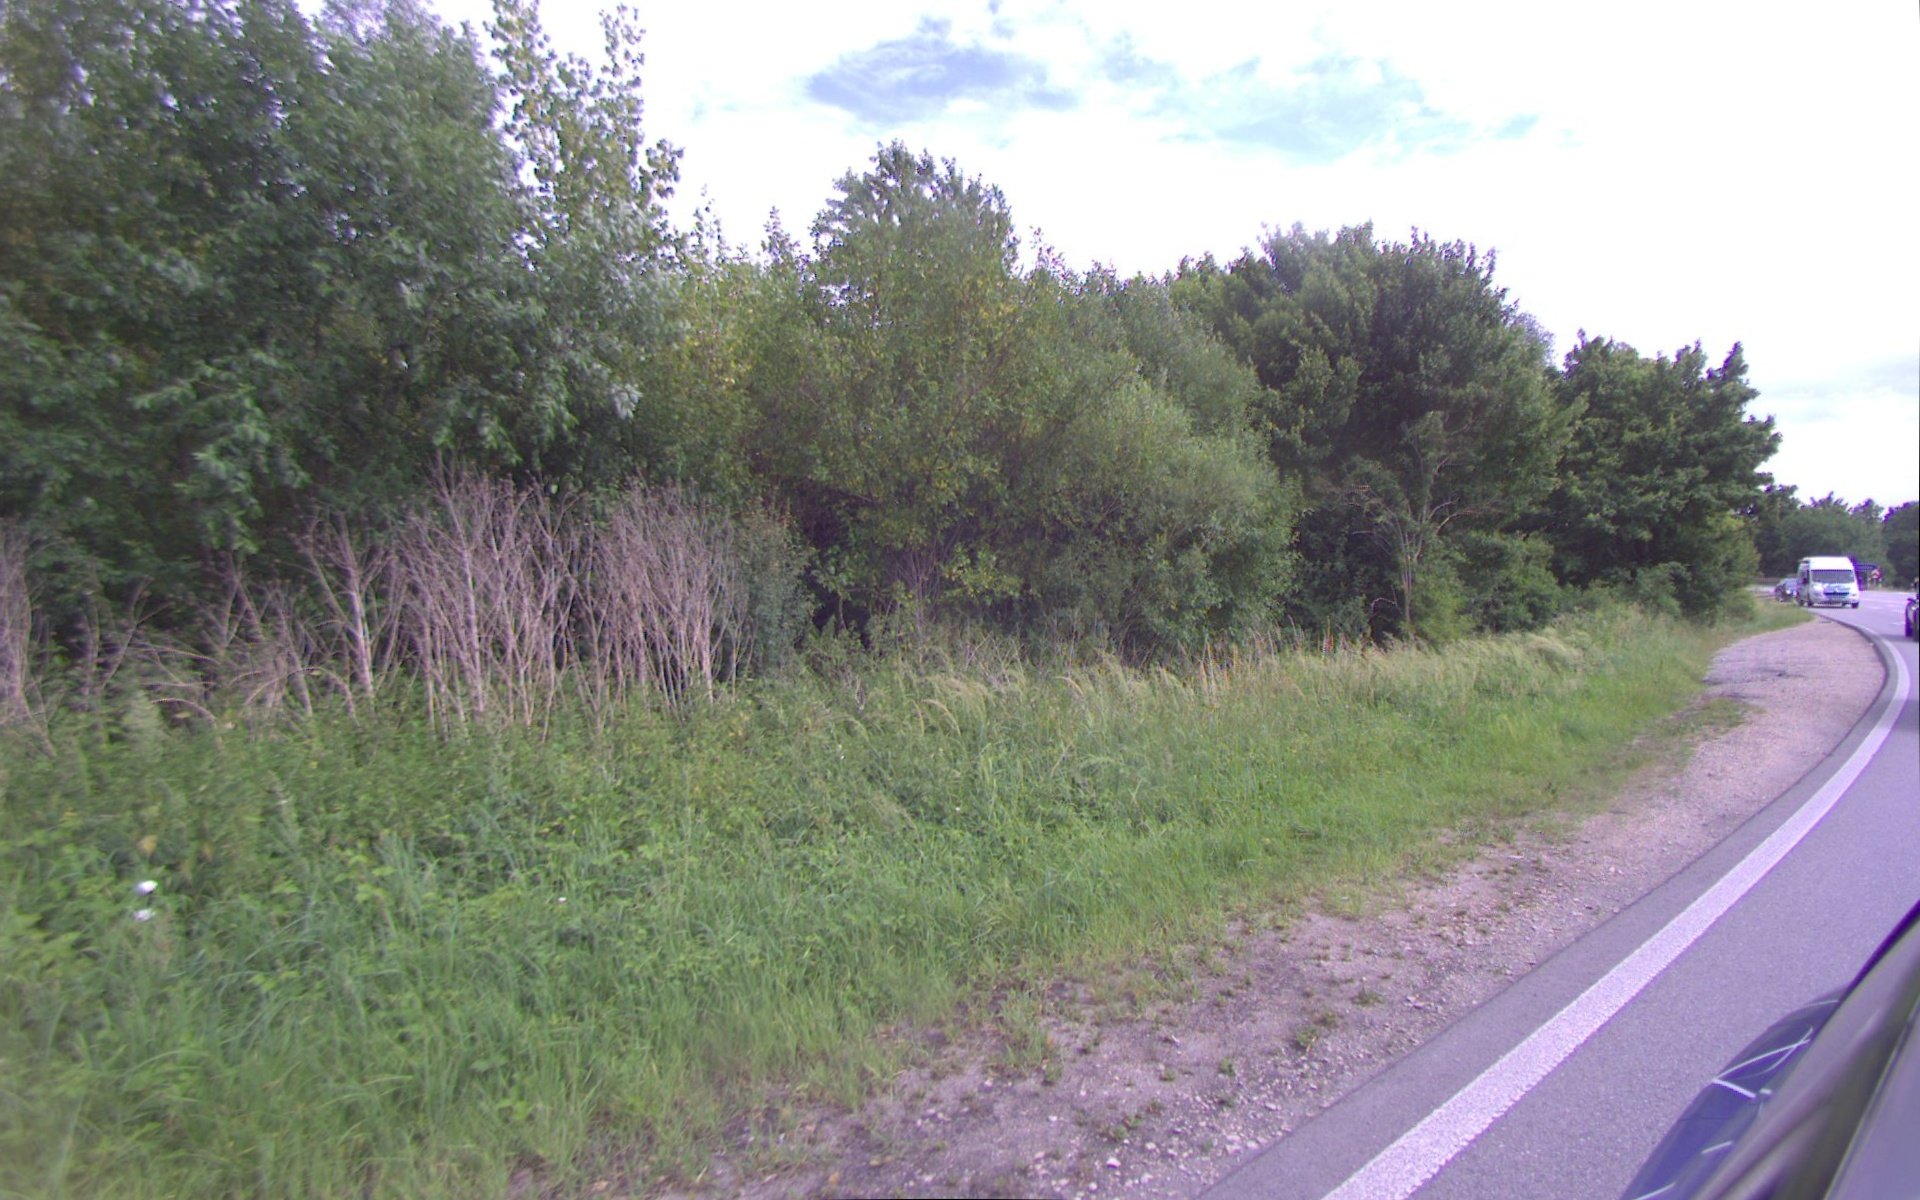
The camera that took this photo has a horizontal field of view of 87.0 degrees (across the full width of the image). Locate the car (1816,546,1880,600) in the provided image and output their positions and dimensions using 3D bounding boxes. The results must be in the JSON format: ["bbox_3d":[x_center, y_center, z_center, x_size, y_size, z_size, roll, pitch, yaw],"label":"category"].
[{"bbox_3d":[47.368,-1.402,54.080,2.209,2.704,5.167,-1,-1,38],"label":"car"}]

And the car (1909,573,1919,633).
[{"bbox_3d":[27.532,0.059,27.669,2.012,1.633,4.220,0,1,39],"label":"car"}]
